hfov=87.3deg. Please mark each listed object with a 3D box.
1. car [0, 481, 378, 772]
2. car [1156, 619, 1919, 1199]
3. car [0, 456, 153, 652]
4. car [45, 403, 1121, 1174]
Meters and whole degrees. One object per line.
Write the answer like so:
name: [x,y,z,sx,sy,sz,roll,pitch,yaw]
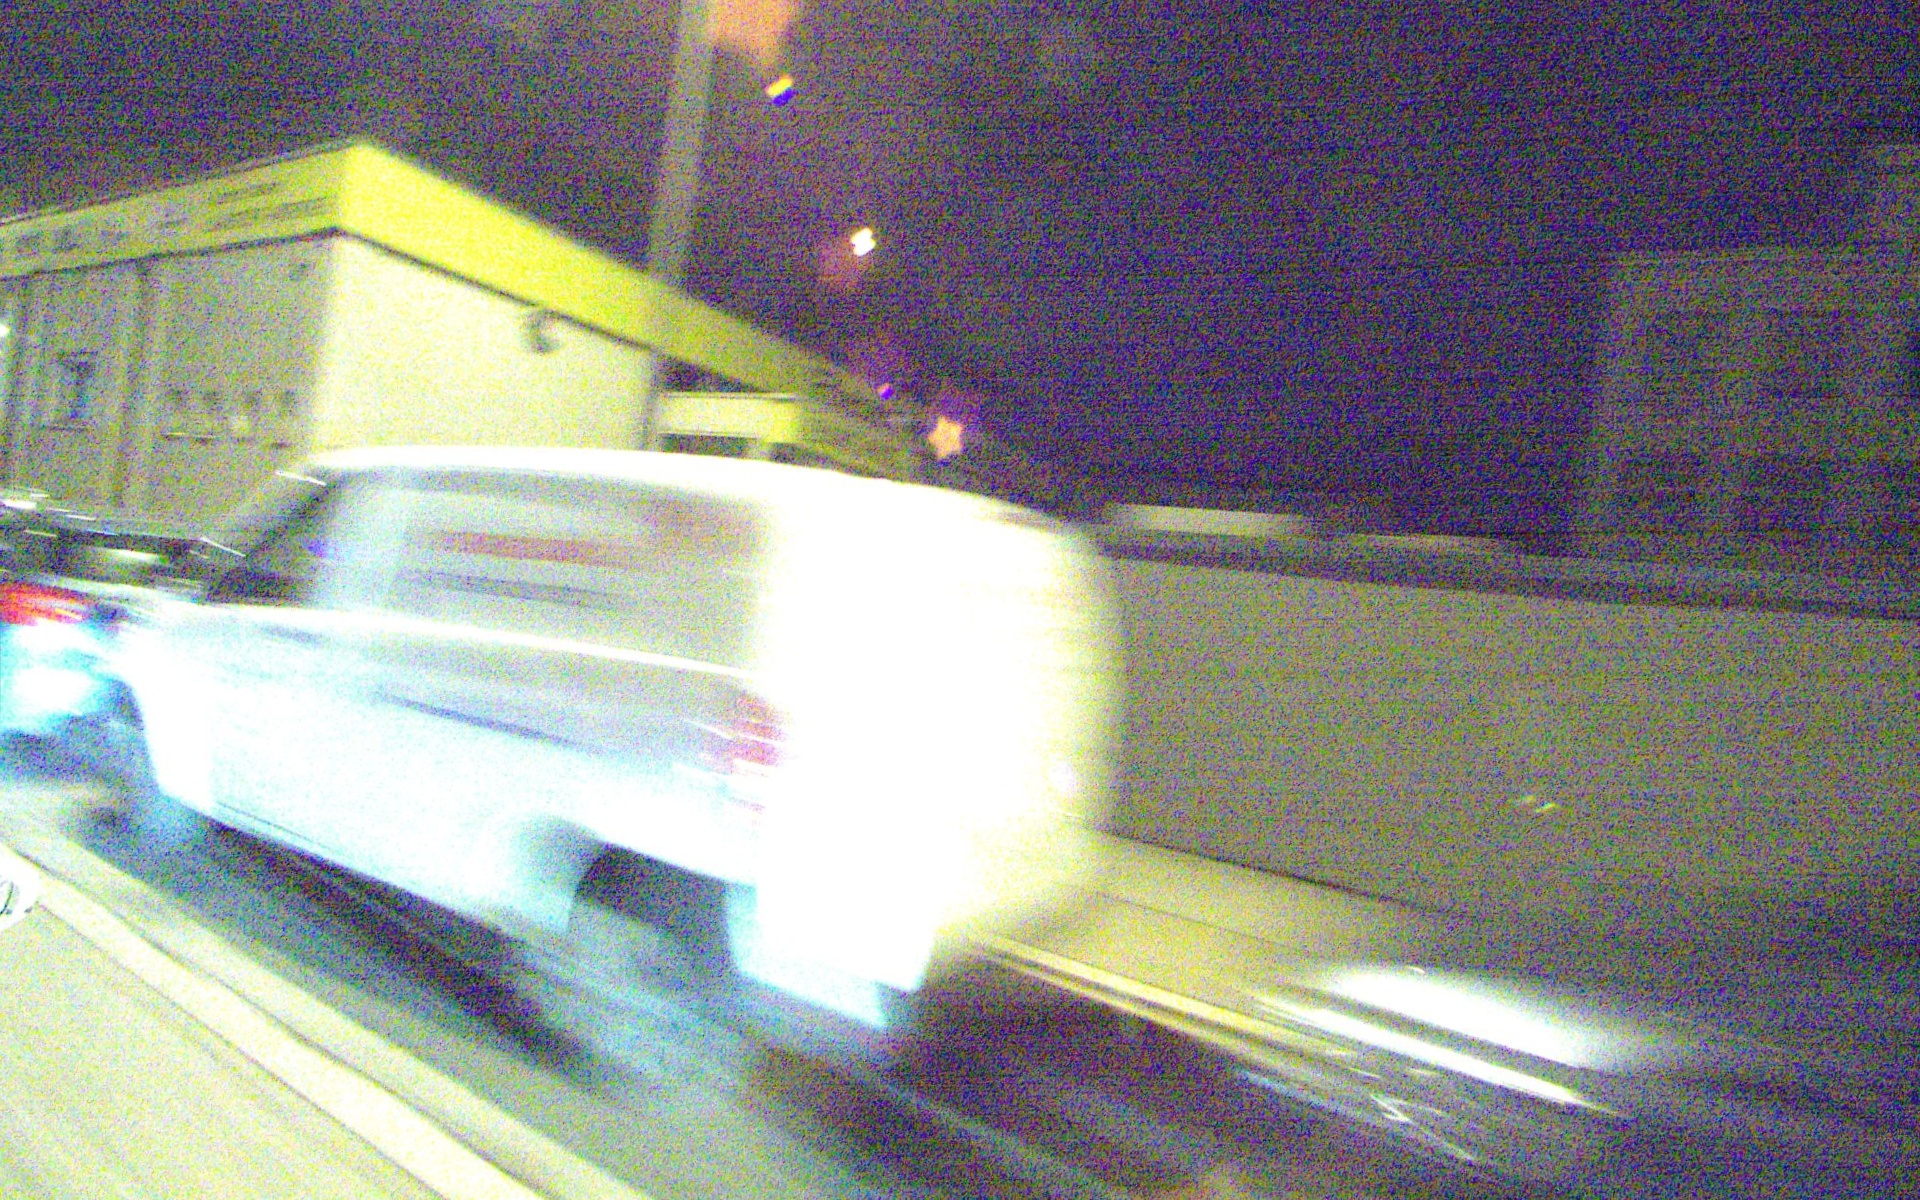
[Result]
car: [-5.958,-0.007,6.835,4.122,1.445,1.817,7,1,35]
car: [2.492,1.023,1.781,3.828,1.484,1.597,6,-1,32]
car: [-9.903,-0.622,9.630,4.550,1.608,1.826,7,0,31]
car: [-1.911,0.286,4.455,4.693,1.899,1.802,7,1,31]
